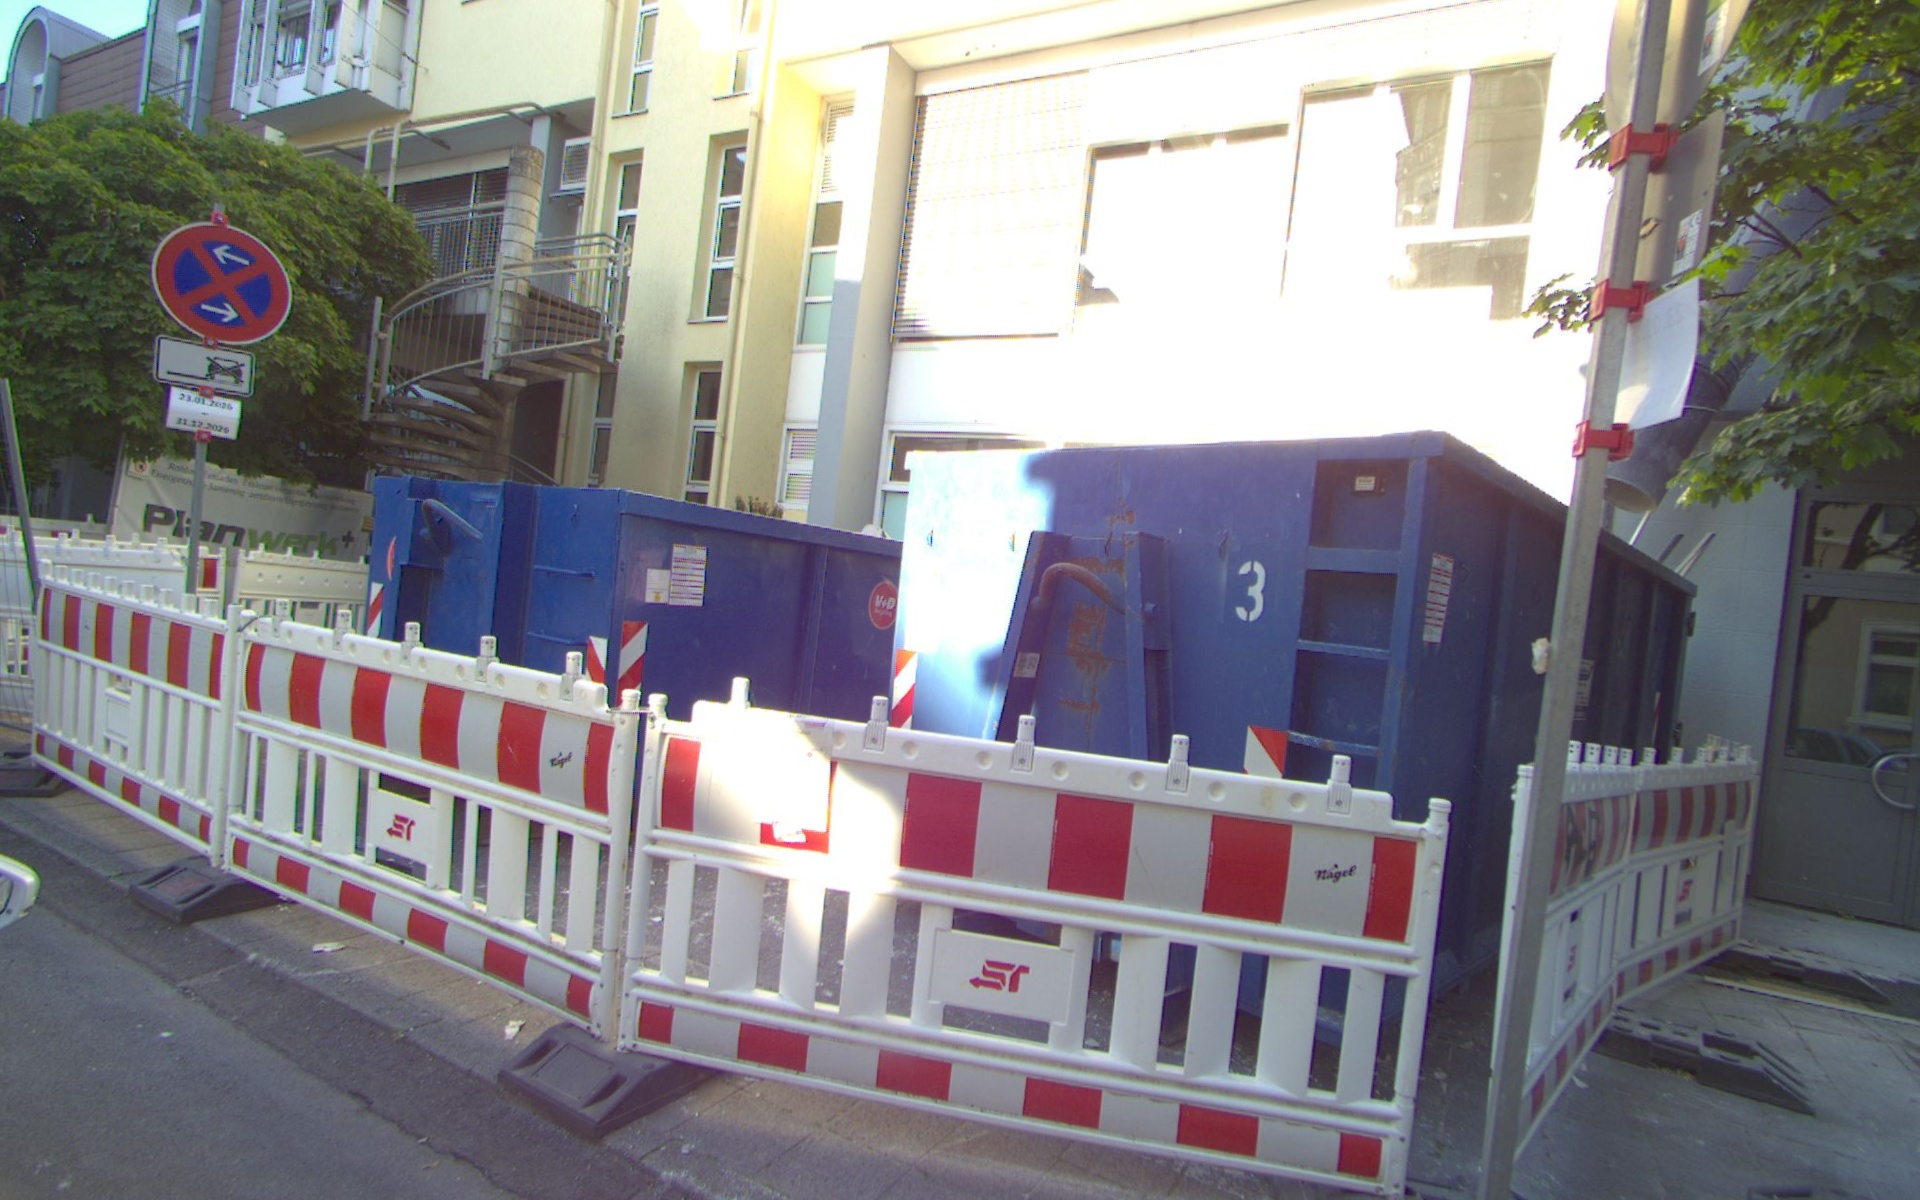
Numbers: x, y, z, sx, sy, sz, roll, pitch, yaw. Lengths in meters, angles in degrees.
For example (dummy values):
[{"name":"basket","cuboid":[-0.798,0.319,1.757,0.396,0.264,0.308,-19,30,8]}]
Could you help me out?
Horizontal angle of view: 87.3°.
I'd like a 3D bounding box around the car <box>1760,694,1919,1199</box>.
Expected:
[{"name":"car","cuboid":[2.938,1.090,0.546,3.668,1.495,1.677,7,1,32]}]
